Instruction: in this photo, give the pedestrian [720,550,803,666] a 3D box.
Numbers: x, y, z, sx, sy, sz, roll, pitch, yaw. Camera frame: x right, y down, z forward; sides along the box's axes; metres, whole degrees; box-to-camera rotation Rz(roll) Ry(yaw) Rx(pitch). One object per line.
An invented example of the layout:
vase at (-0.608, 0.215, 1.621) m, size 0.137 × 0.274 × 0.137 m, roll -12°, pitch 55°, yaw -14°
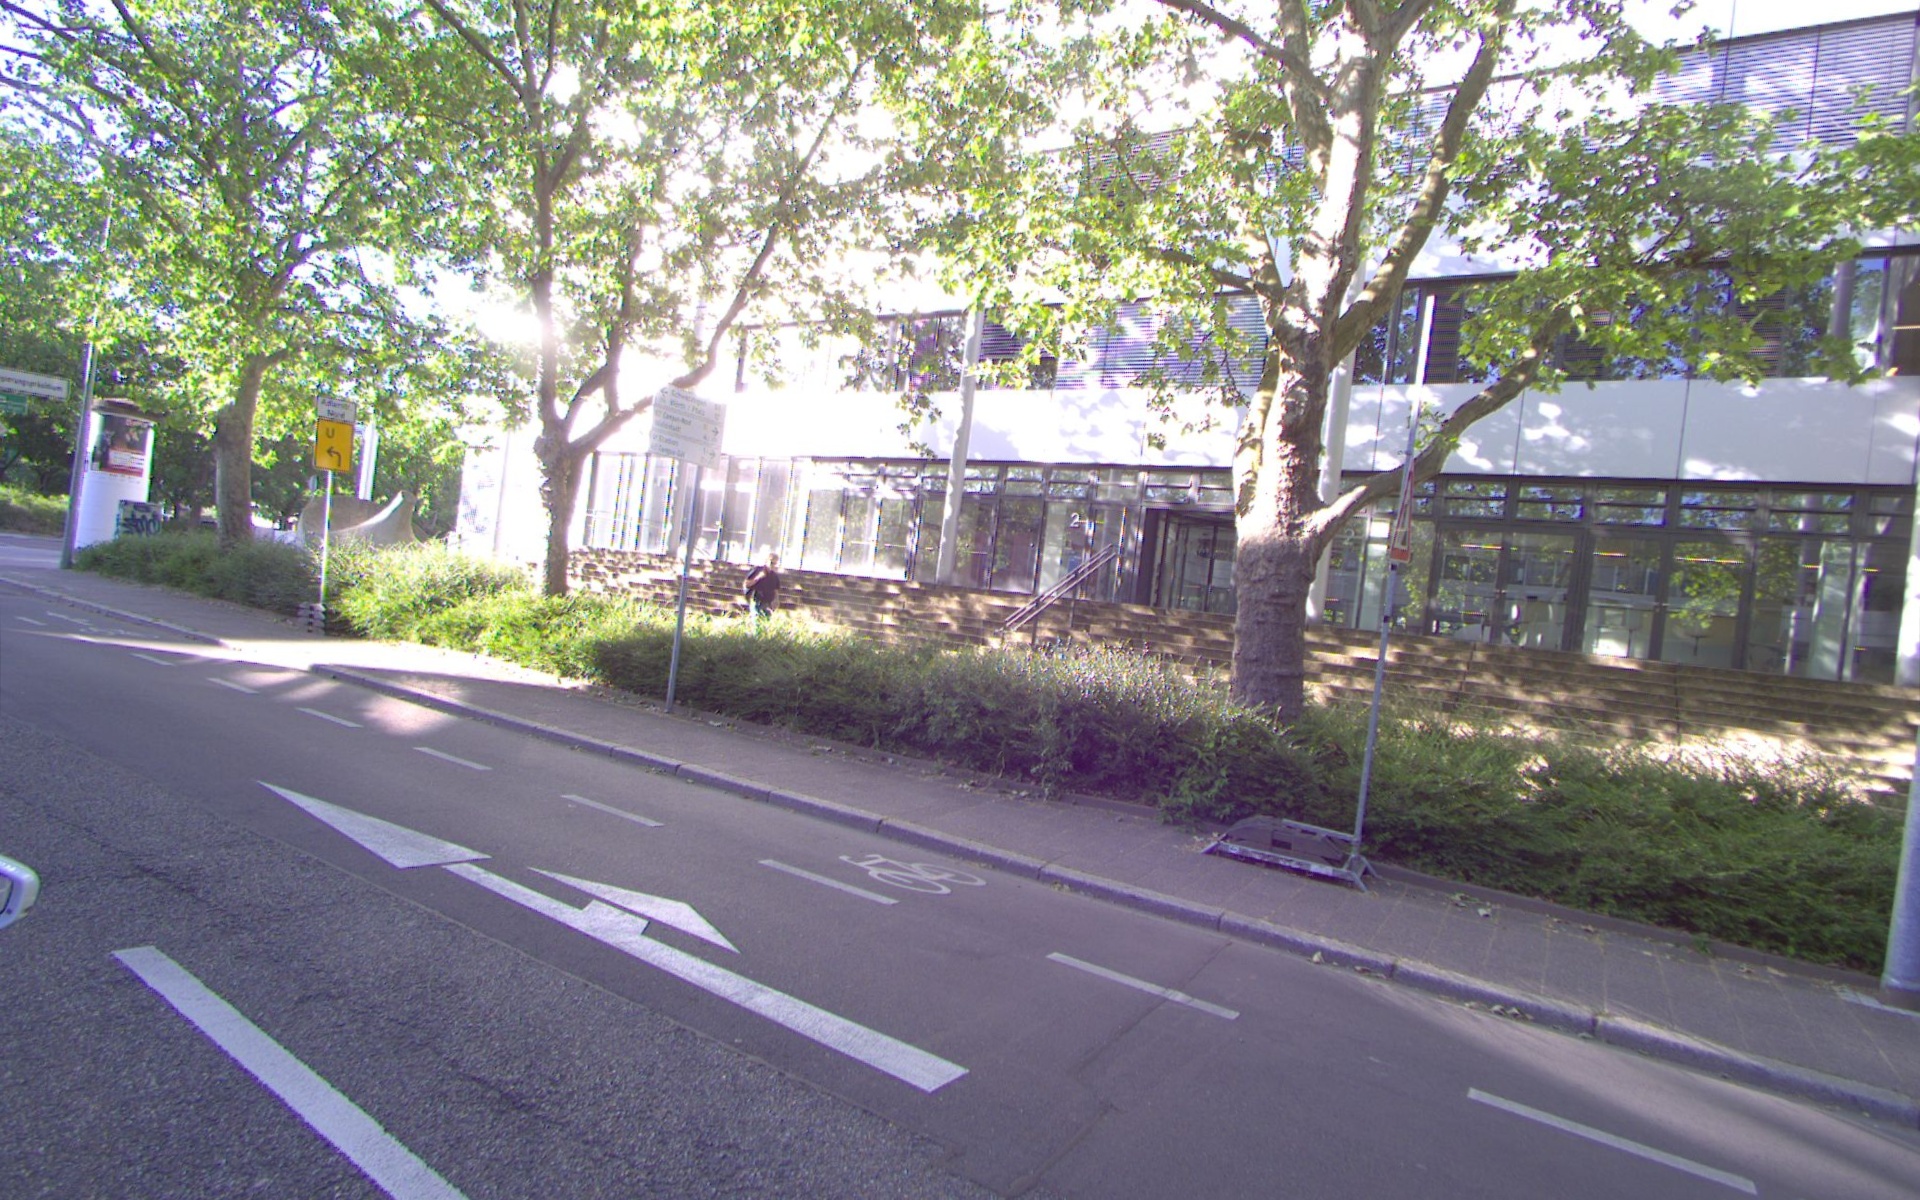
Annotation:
pedestrian at (-3.319, 0.135, 16.836) m, size 0.848 × 1.802 × 0.785 m, roll 7°, pitch 0°, yaw 30°
